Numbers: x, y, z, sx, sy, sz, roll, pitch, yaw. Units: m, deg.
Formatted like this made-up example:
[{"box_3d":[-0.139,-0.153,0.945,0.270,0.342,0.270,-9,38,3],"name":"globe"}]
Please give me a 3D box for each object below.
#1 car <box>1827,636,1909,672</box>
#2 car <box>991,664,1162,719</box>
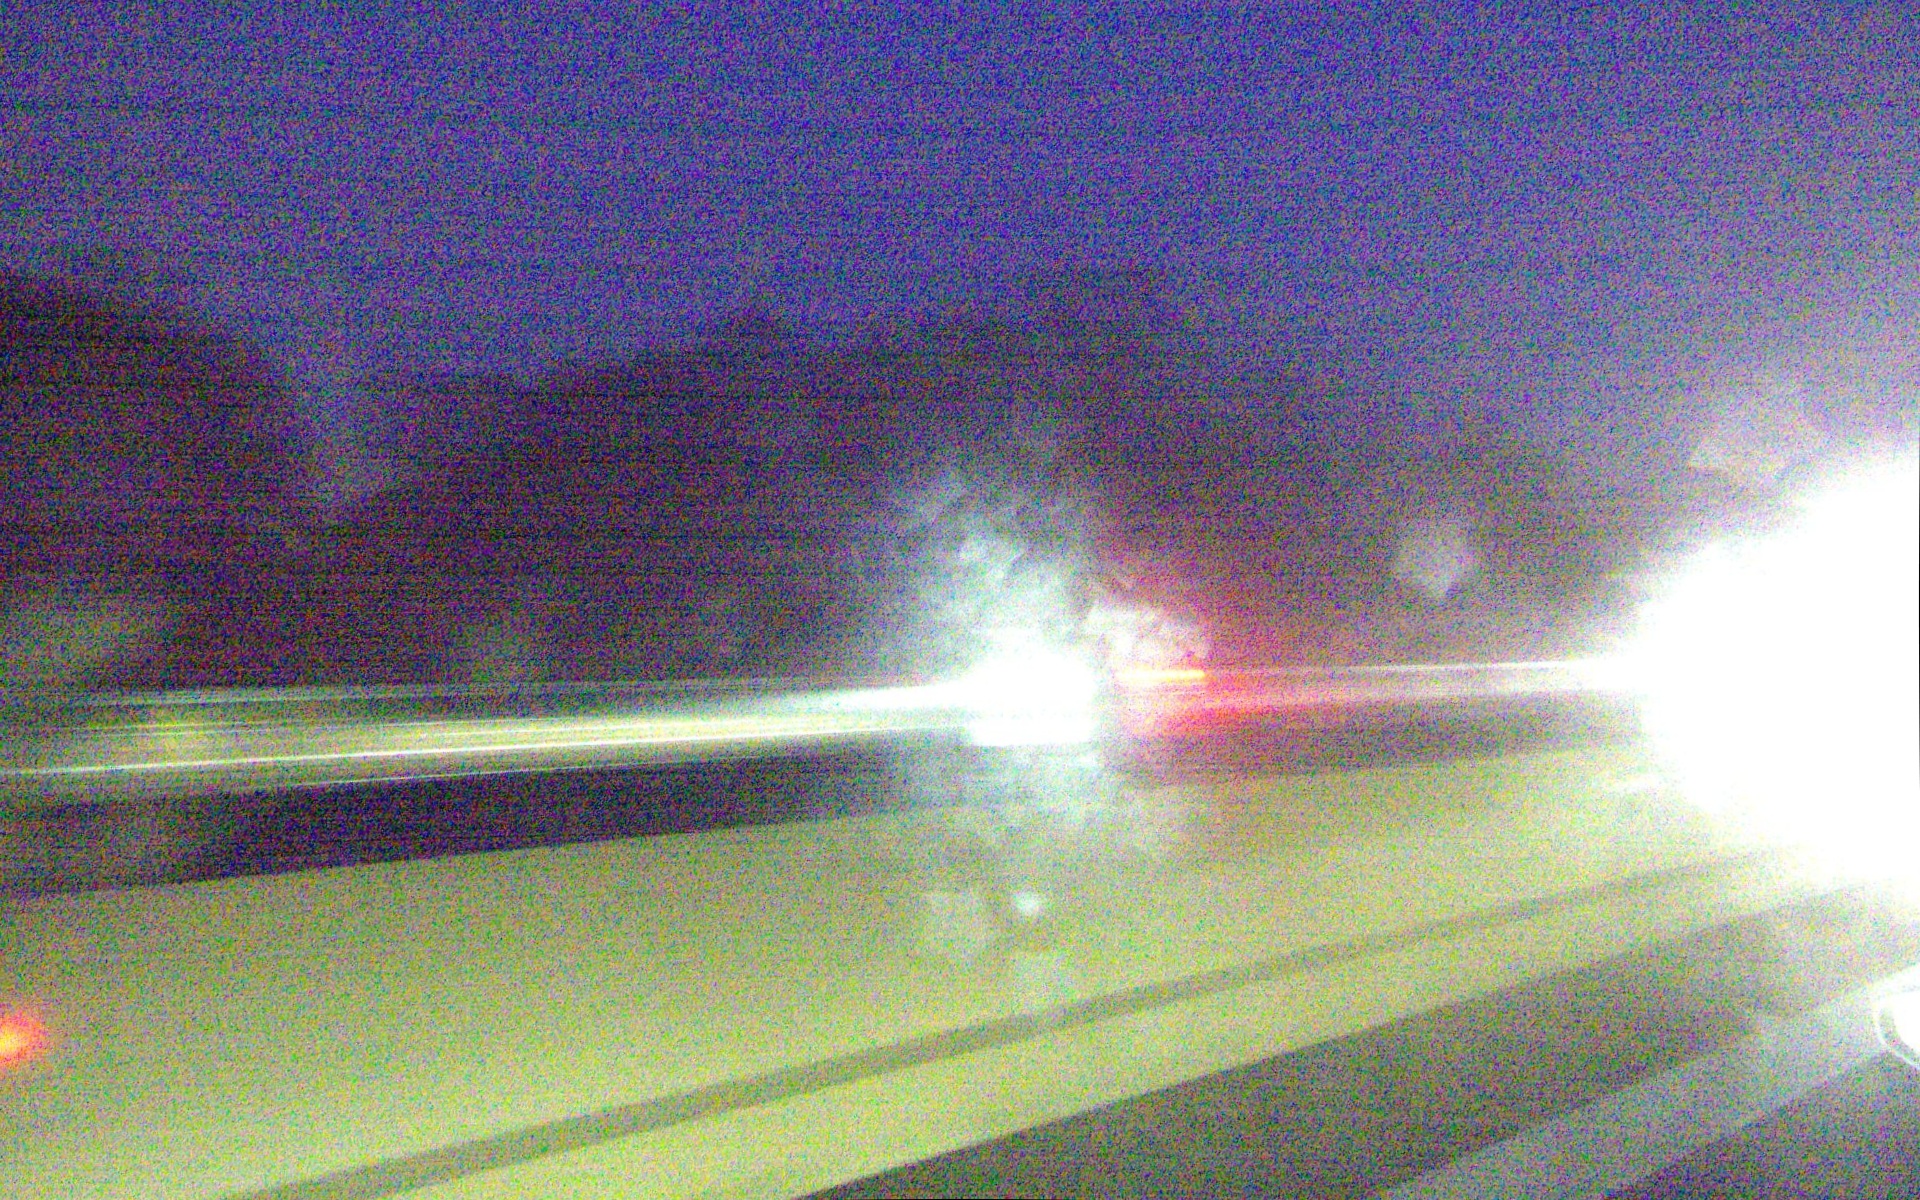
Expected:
[{"box_3d":[51.963,3.066,57.463,5.323,1.973,1.984,1,-3,-31],"name":"car"},{"box_3d":[2.866,2.183,24.435,4.001,1.117,1.629,2,0,-32],"name":"car"}]
